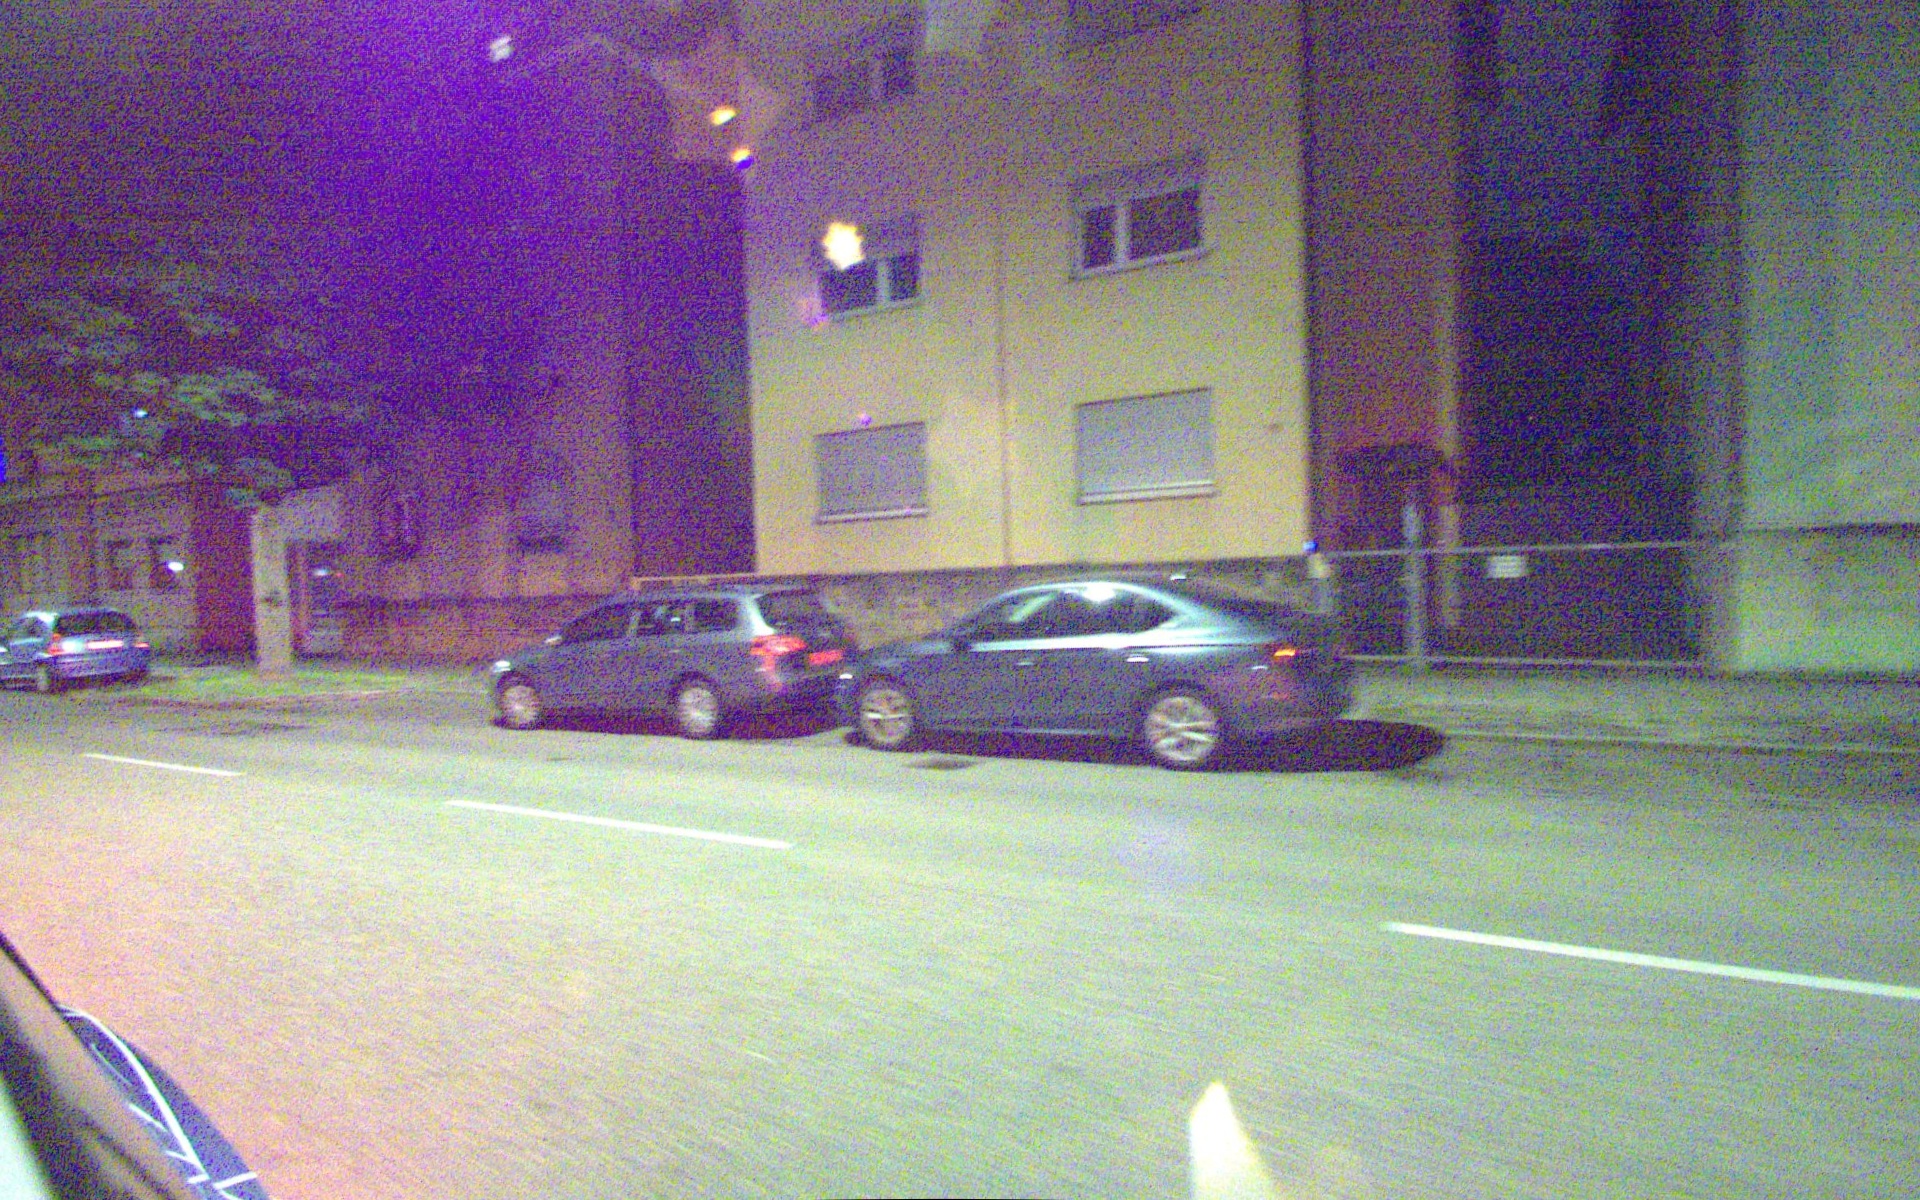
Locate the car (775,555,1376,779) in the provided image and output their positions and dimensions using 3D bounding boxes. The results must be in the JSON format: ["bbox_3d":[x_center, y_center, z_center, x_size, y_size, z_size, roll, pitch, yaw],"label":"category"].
[{"bbox_3d":[0.867,0.471,8.718,4.843,1.497,1.756,-1,1,30],"label":"car"}]

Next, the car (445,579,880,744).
[{"bbox_3d":[-3.356,0.589,11.157,4.746,1.497,1.757,-1,1,29],"label":"car"}]

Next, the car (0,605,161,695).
[{"bbox_3d":[-17.425,0.936,19.564,3.973,1.505,1.702,-2,2,30],"label":"car"}]
